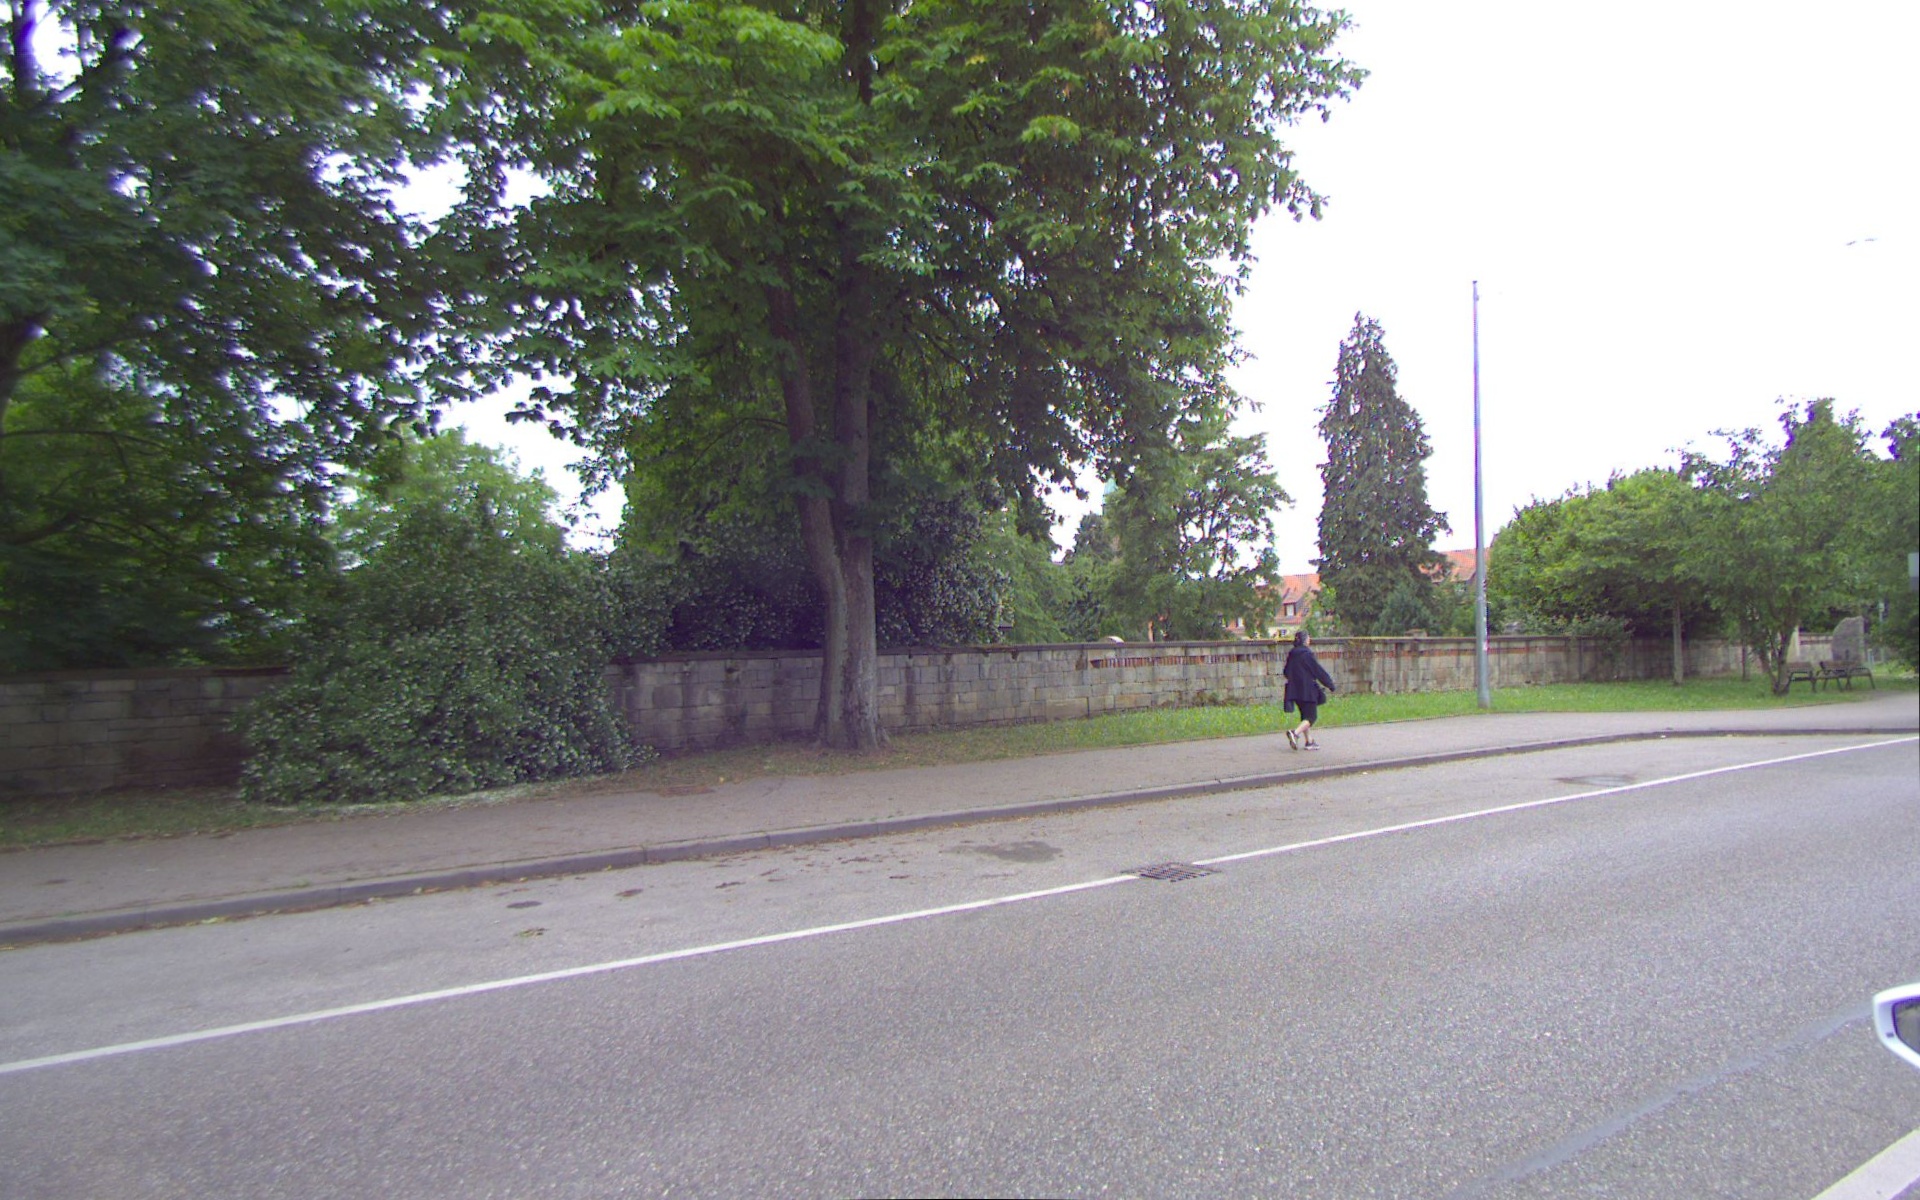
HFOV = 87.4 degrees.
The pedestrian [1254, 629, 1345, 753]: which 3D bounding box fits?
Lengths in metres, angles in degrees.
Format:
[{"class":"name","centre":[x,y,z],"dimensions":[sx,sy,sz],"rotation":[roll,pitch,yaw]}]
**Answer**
[{"class":"pedestrian","centre":[4.621,1.203,13.673],"dimensions":[0.955,1.599,0.745],"rotation":[1,-1,-30]}]
